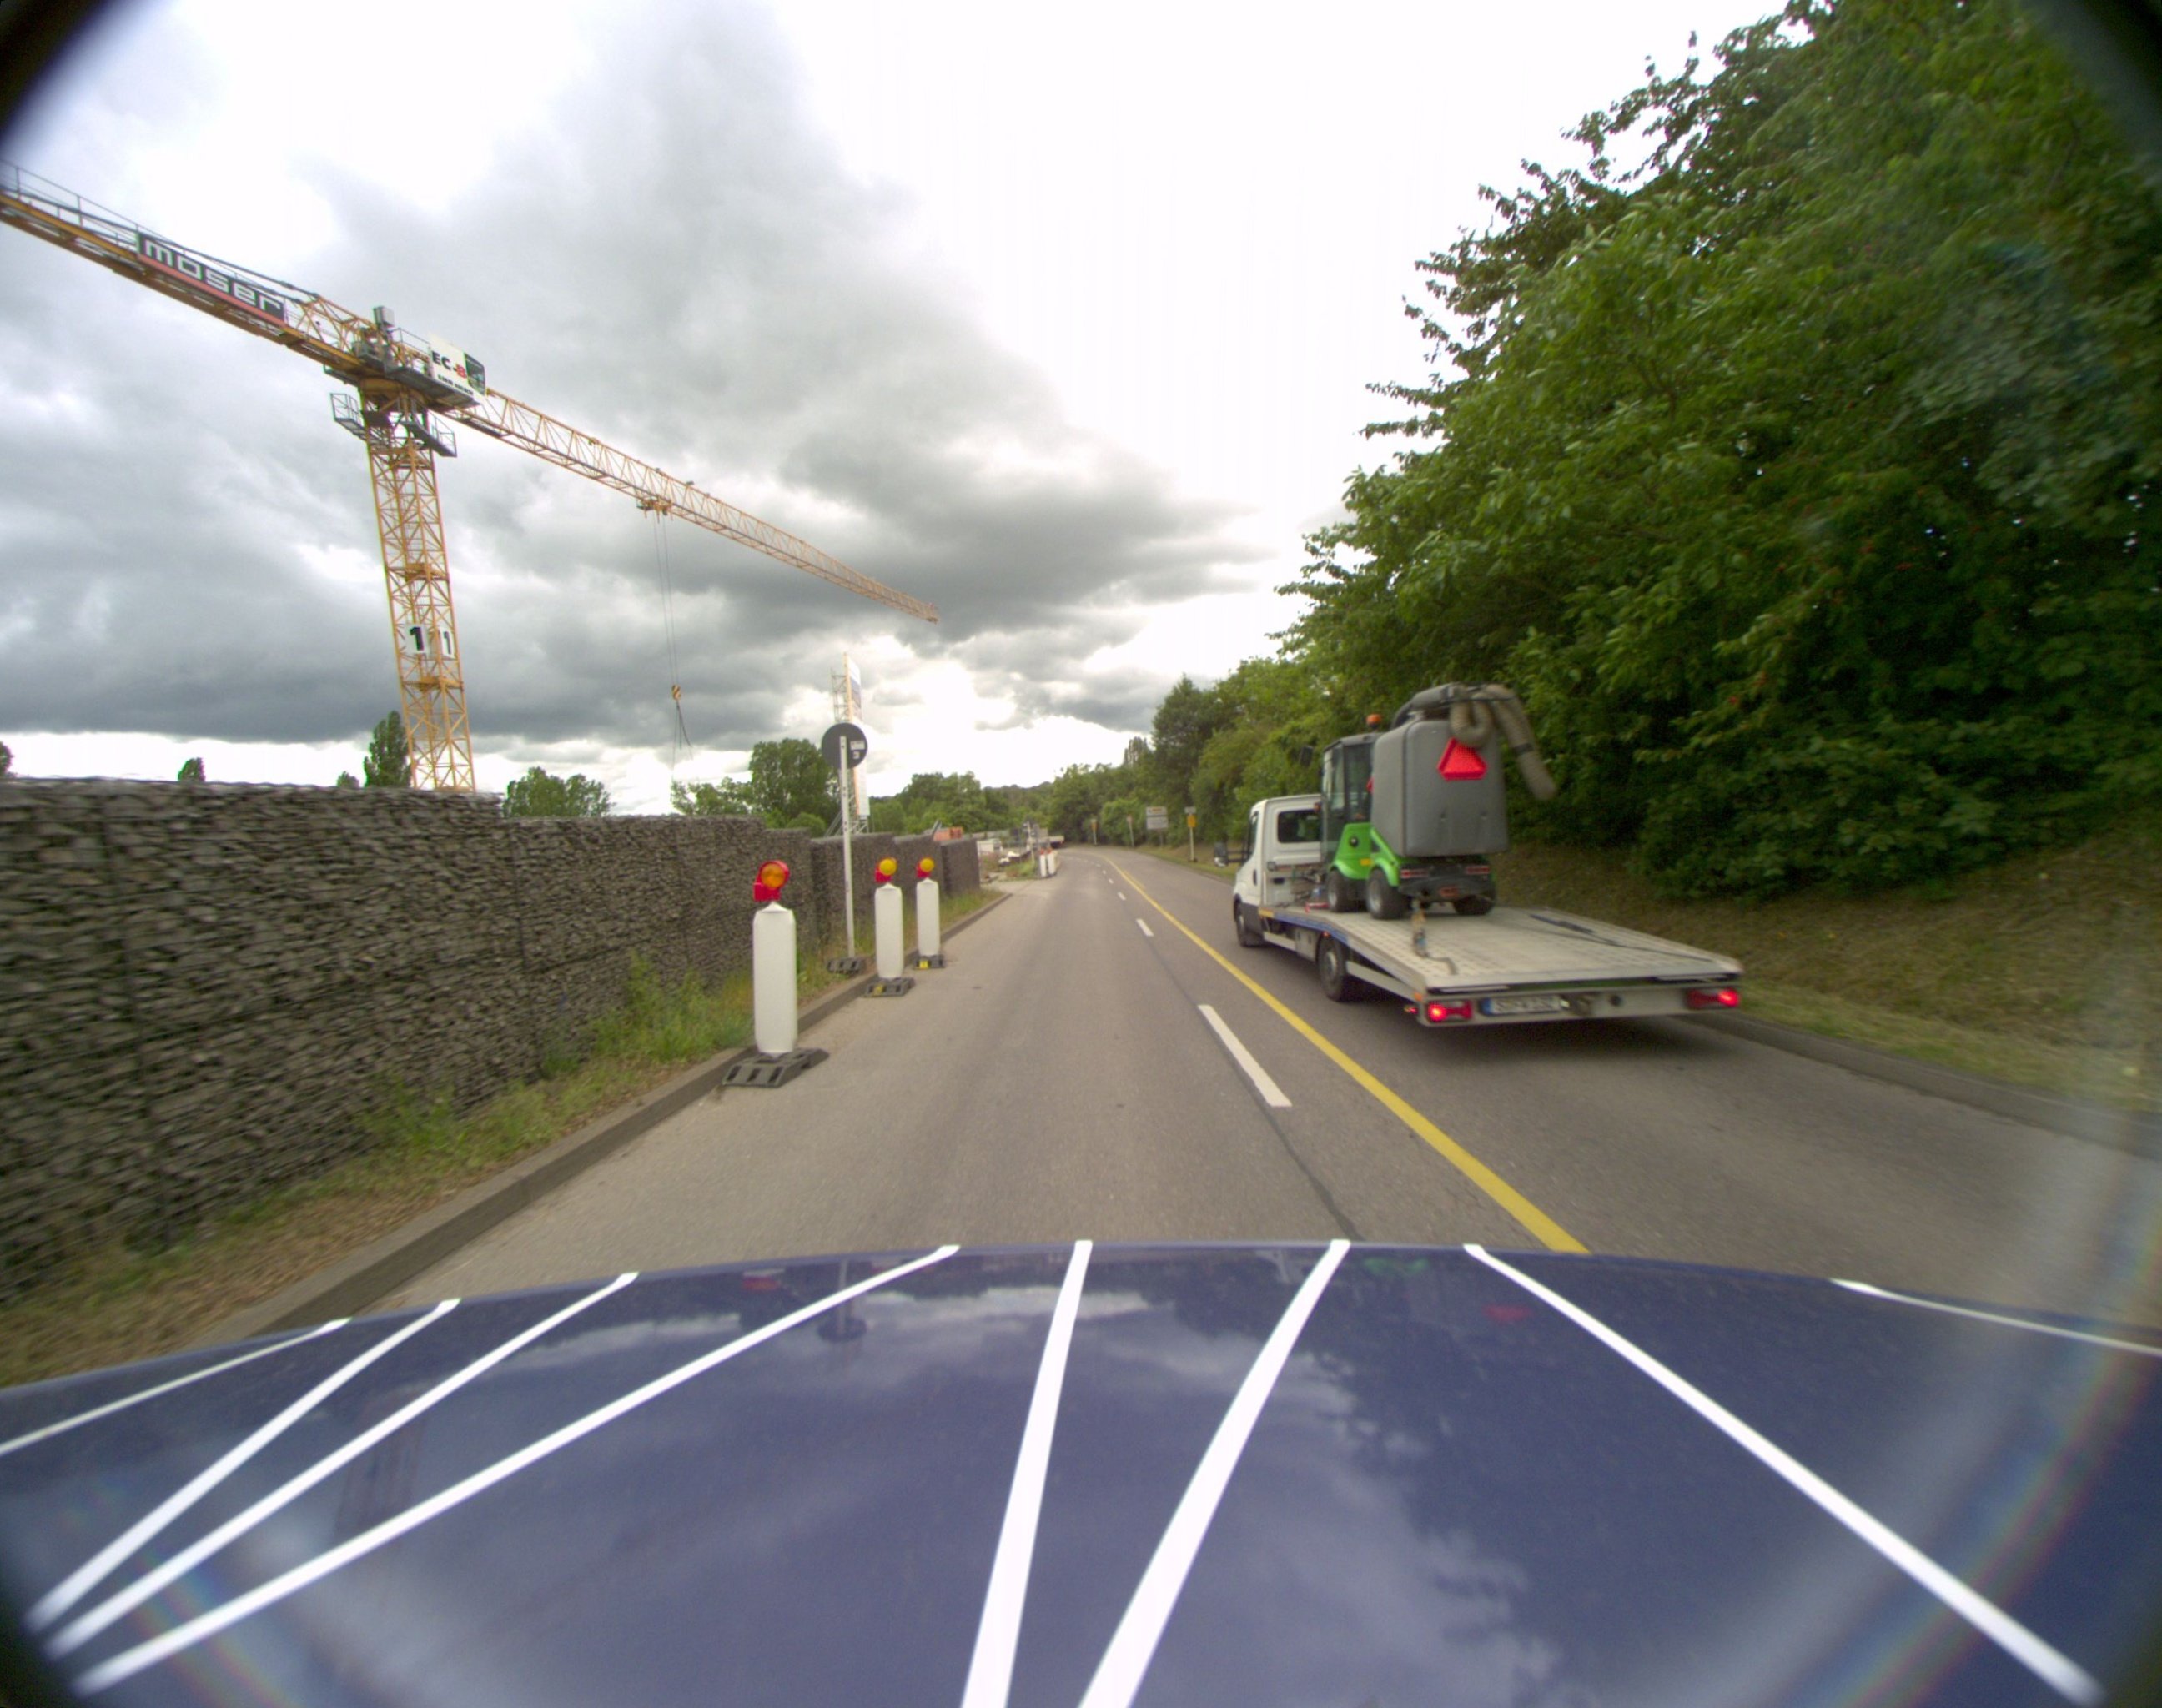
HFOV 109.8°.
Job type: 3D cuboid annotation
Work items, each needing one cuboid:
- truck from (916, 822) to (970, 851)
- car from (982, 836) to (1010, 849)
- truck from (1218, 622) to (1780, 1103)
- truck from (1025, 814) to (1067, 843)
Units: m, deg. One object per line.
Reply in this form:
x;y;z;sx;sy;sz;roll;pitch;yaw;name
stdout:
-21.852;-2.684;119.846;3.046;3.877;9.975;-8;4;-44;truck
-12.271;-1.680;108.972;1.897;1.555;4.089;-8;4;-40;car
3.367;0.041;8.707;2.220;2.997;7.739;-2;0;1;truck
-4.419;-3.125;94.834;2.762;3.240;7.596;-6;3;-21;truck
